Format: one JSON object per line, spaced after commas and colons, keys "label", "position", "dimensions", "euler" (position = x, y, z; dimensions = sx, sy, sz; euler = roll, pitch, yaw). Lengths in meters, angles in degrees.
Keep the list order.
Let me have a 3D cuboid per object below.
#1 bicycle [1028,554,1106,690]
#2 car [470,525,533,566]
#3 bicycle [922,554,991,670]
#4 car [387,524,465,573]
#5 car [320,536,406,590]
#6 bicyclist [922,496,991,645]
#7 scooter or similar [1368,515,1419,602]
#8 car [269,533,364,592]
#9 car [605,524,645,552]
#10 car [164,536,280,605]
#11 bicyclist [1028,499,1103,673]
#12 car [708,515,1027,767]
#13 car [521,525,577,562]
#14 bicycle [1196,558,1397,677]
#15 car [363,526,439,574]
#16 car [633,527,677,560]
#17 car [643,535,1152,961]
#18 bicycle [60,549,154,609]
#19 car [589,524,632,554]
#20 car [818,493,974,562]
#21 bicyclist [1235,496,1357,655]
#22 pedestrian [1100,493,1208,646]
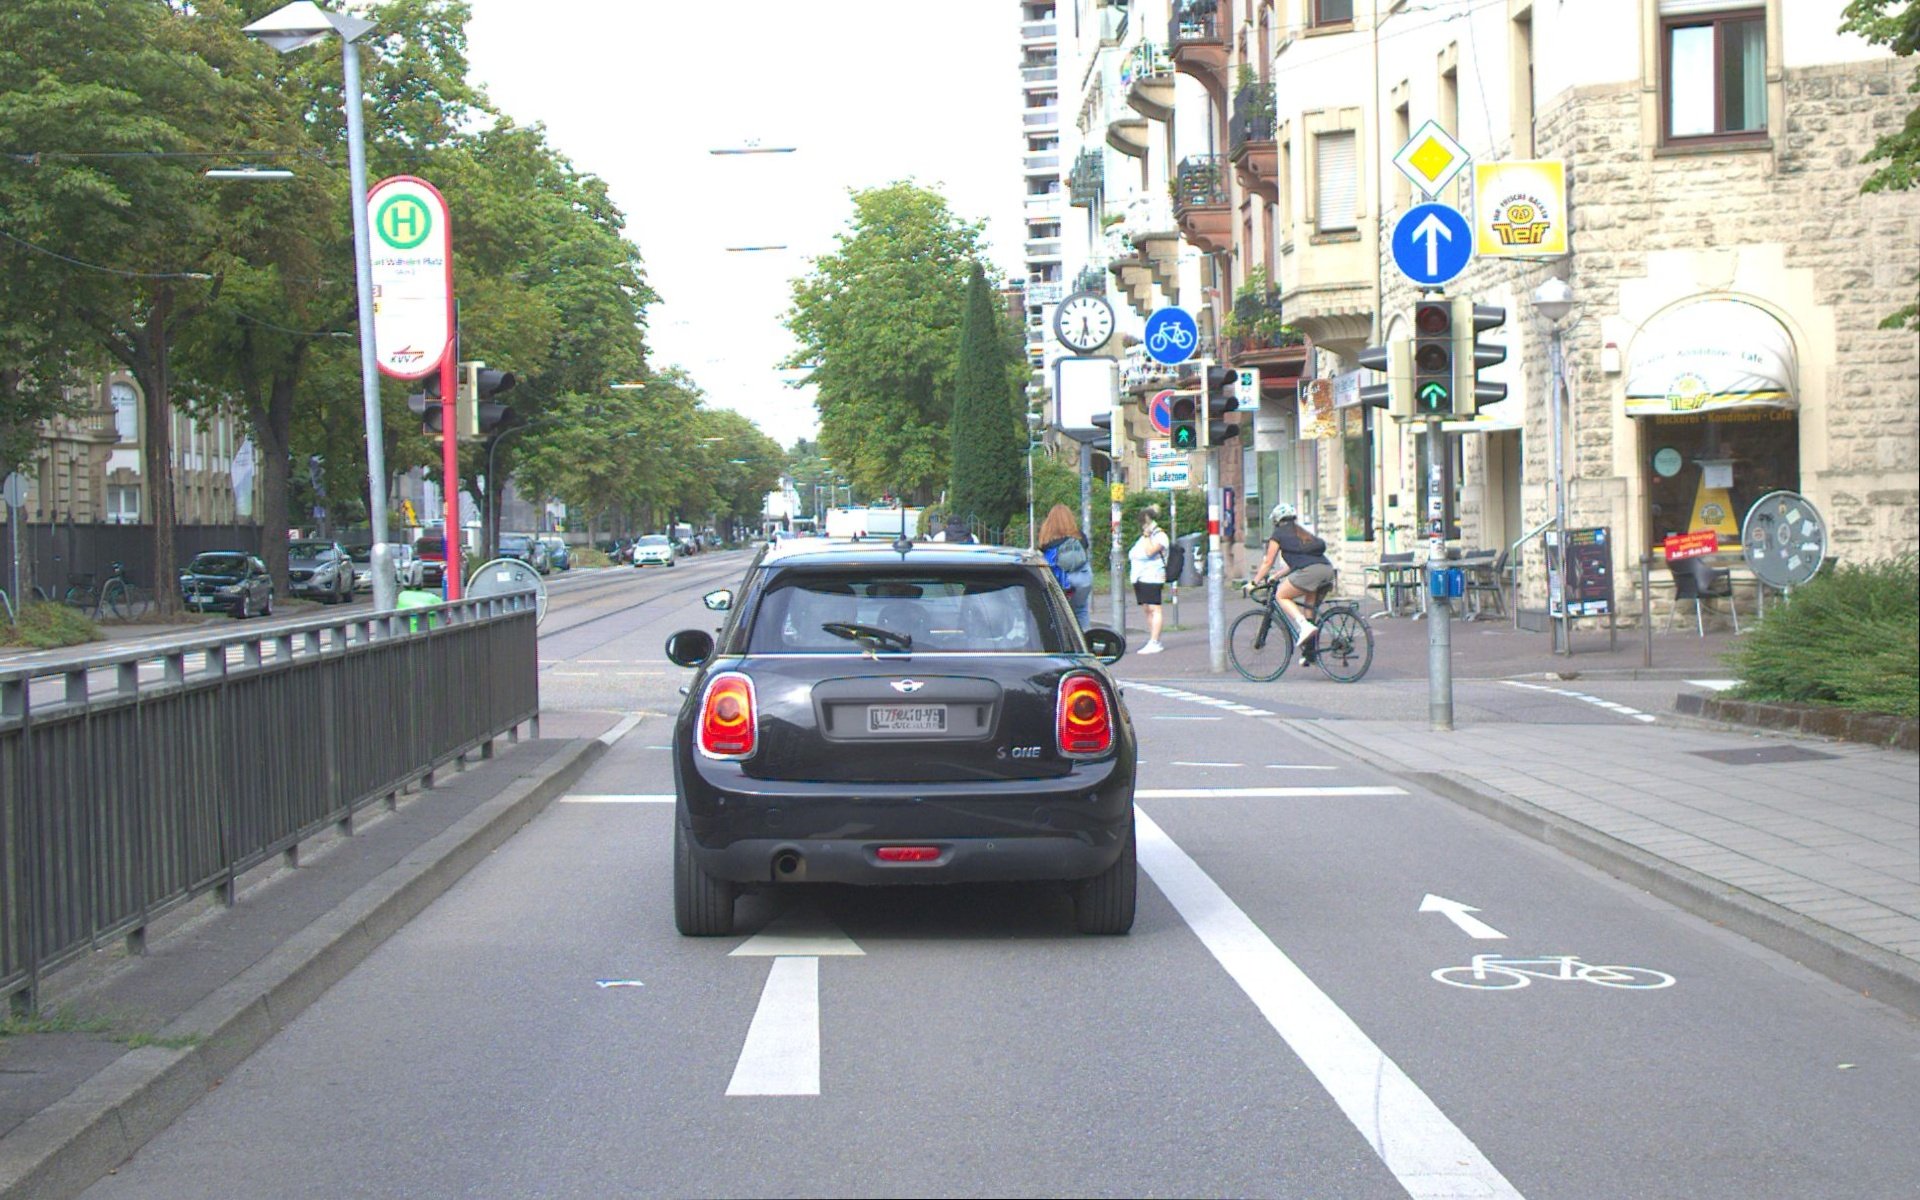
{"label": "bicycle", "position": [0.962, 0.183, 31.247], "dimensions": [0.598, 1.166, 1.697], "euler": [-2, 2, -1]}
{"label": "car", "position": [-18.259, -2.191, 136.933], "dimensions": [1.993, 1.546, 4.000], "euler": [-1, 1, -1]}
{"label": "bicycle", "position": [-0.025, 0.114, 36.969], "dimensions": [0.684, 1.166, 1.697], "euler": [-2, 2, 1]}
{"label": "car", "position": [-17.690, -1.730, 113.969], "dimensions": [1.993, 1.546, 4.000], "euler": [-1, 1, -1]}
{"label": "car", "position": [-16.469, -1.049, 94.945], "dimensions": [1.767, 1.390, 4.001], "euler": [-2, 1, -2]}
{"label": "bicyclist", "position": [-0.036, -0.331, 36.929], "dimensions": [0.684, 1.558, 0.998], "euler": [-2, 2, 1]}
{"label": "scooter or similar", "position": [6.107, -0.594, 48.438], "dimensions": [0.508, 1.184, 1.262], "euler": [-2, 2, -1]}
{"label": "car", "position": [-16.313, -0.963, 87.272], "dimensions": [1.767, 1.390, 4.001], "euler": [-2, 1, -2]}
{"label": "car", "position": [-19.453, -3.588, 199.843], "dimensions": [1.993, 1.546, 4.000], "euler": [-1, 1, -1]}
{"label": "car", "position": [-16.126, -0.661, 75.250], "dimensions": [1.767, 1.390, 4.001], "euler": [-2, 1, -2]}
{"label": "bicyclist", "position": [0.952, -0.138, 31.235], "dimensions": [0.594, 1.545, 1.014], "euler": [-2, 2, -1]}
{"label": "car", "position": [-0.566, 0.206, 23.192], "dimensions": [1.927, 1.504, 4.000], "euler": [-2, 1, 0]}
{"label": "car", "position": [-18.295, -2.528, 153.166], "dimensions": [1.993, 1.546, 4.000], "euler": [-1, 1, -1]}
{"label": "bicycle", "position": [3.155, 0.160, 32.342], "dimensions": [1.819, 1.073, 0.615], "euler": [0, 2, 39]}
{"label": "car", "position": [-17.138, -1.564, 105.577], "dimensions": [1.767, 1.390, 4.001], "euler": [-2, 1, -2]}
{"label": "car", "position": [-13.761, -2.569, 155.251], "dimensions": [1.767, 1.390, 4.001], "euler": [-2, 1, -2]}
{"label": "car", "position": [-0.241, 0.475, 13.879], "dimensions": [1.751, 1.436, 4.000], "euler": [0, 1, -1]}
{"label": "bicycle", "position": [-16.811, -0.416, 67.770], "dimensions": [1.667, 1.115, 0.573], "euler": [-3, 2, -40]}
{"label": "car", "position": [-19.217, -3.380, 189.378], "dimensions": [1.993, 1.546, 4.000], "euler": [-1, 1, -1]}
{"label": "car", "position": [-2.203, -2.539, 119.729], "dimensions": [5.025, 2.265, 2.396], "euler": [-3, 2, -41]}
{"label": "bicyclist", "position": [3.156, -0.232, 32.319], "dimensions": [0.914, 1.467, 0.615], "euler": [0, 2, 39]}
{"label": "pedestrian", "position": [2.230, -0.349, 39.473], "dimensions": [0.833, 1.668, 0.732], "euler": [-6, 2, -44]}
